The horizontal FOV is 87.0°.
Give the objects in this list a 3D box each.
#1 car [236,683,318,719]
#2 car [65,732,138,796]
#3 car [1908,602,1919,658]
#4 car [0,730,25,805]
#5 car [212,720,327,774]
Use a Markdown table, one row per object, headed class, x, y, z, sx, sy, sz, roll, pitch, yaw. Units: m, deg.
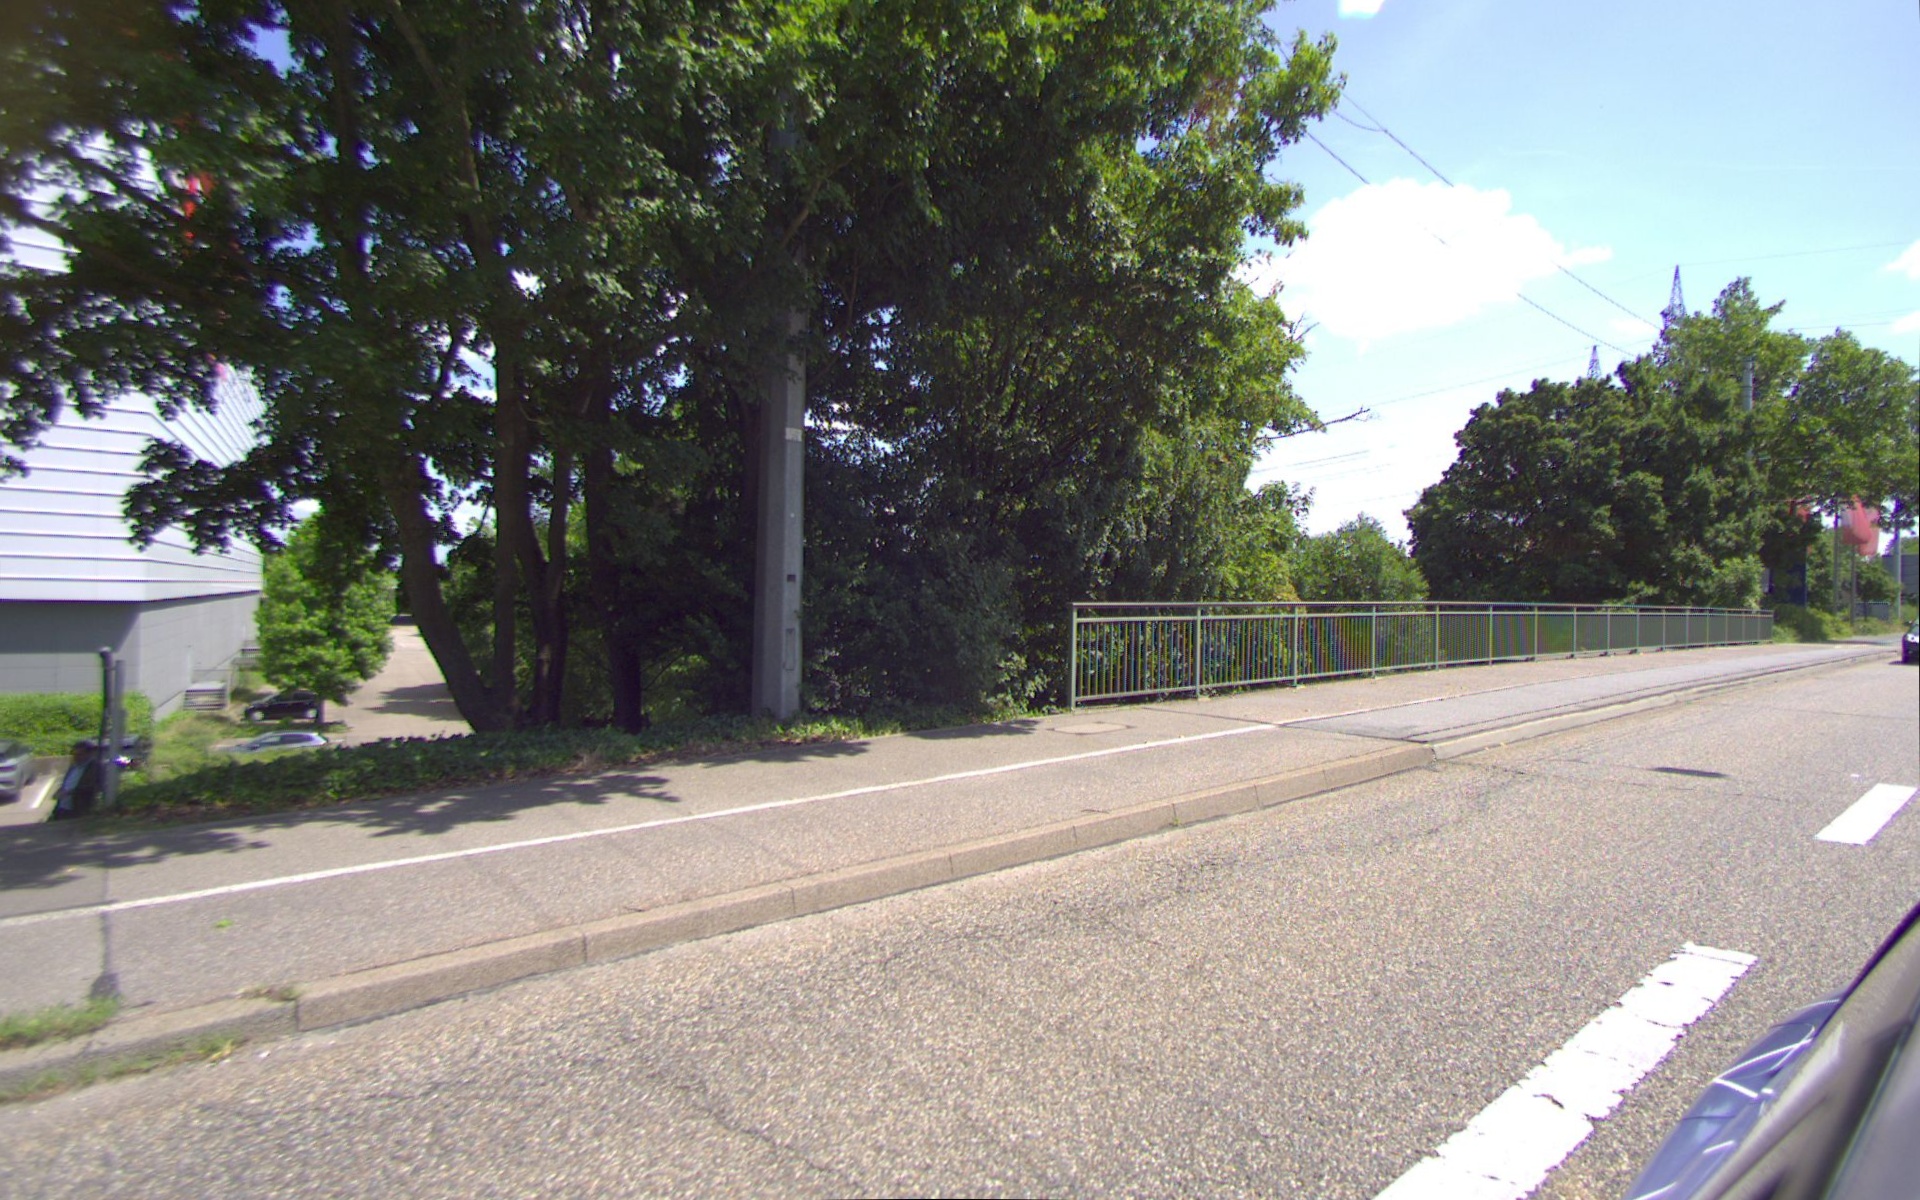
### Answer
| class | x | y | z | sx | sy | sz | roll | pitch | yaw |
| --- | --- | --- | --- | --- | --- | --- | --- | --- | --- |
| car | -36.308 | 5.361 | 53.869 | 3.551 | 1.622 | 1.706 | 0 | -3 | -34 |
| car | -25.621 | 4.843 | 30.291 | 1.565 | 1.360 | 3.371 | 0 | -1 | -39 |
| car | 26.640 | 0.808 | 26.930 | 3.931 | 1.449 | 1.769 | 1 | -1 | -42 |
| car | -27.625 | 4.721 | 28.519 | 1.565 | 1.612 | 3.372 | 3 | -1 | -39 |
| car | -26.442 | 5.580 | 38.769 | 3.554 | 1.622 | 1.704 | 0 | -3 | -38 |
